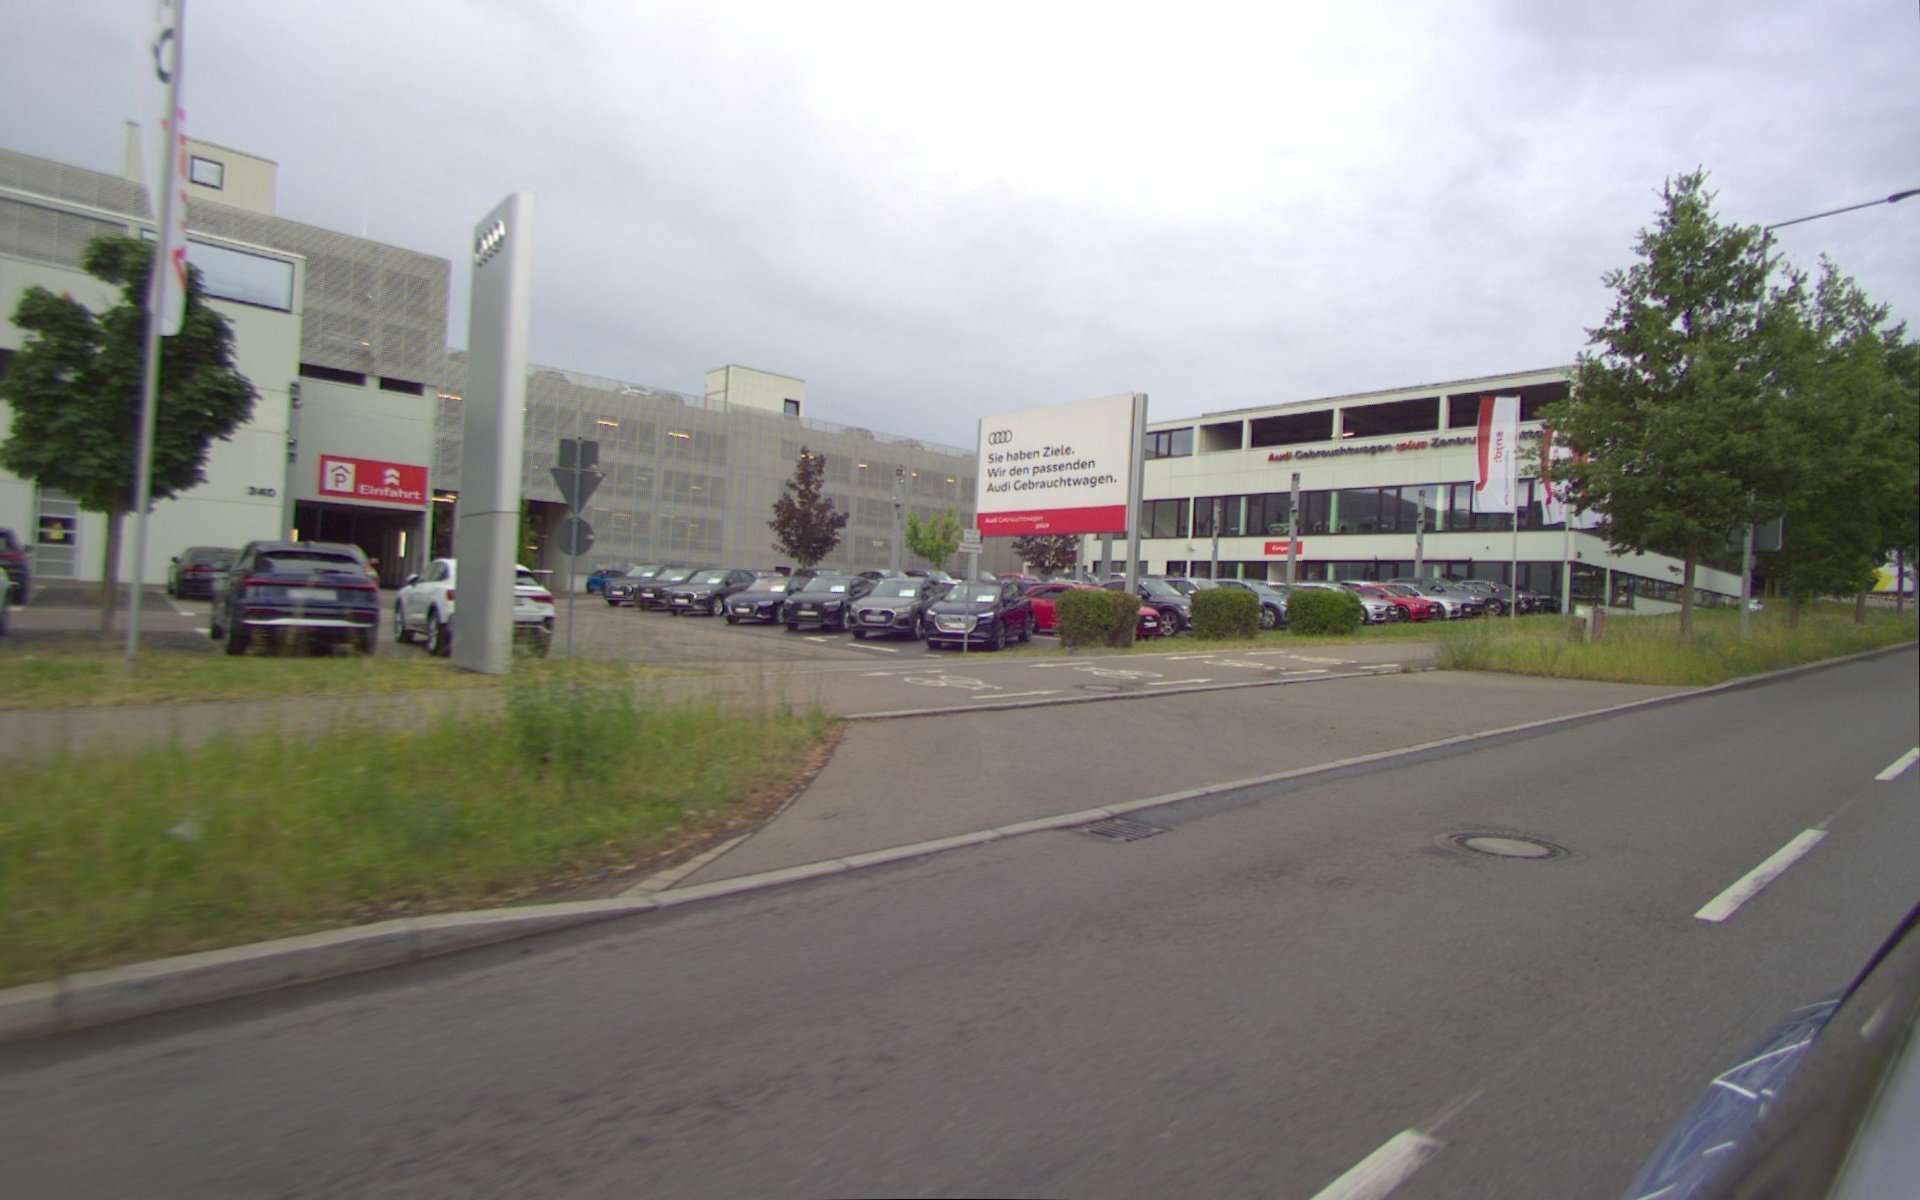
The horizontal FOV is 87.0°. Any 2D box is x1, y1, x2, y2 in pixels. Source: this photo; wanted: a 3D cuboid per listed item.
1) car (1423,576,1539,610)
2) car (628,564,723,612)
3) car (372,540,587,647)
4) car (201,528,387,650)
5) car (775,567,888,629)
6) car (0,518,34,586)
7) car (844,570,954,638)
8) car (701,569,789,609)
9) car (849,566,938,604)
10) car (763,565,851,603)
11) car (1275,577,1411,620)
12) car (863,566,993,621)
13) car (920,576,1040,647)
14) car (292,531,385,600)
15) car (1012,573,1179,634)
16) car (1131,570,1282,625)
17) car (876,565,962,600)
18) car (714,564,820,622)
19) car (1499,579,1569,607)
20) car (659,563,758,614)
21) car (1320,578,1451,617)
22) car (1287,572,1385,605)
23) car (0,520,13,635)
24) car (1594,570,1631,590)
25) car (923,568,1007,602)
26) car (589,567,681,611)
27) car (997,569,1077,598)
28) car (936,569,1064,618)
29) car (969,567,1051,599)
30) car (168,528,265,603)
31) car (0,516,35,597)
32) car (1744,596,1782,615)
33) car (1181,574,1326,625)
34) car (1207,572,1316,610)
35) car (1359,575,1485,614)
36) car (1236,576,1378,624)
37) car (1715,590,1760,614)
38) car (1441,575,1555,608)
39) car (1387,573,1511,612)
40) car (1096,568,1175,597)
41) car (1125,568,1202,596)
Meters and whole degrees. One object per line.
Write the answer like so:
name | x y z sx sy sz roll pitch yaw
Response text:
car | 23.602 -0.342 45.936 1.806 1.395 4.325 -1 3 -42
car | -10.582 -0.482 37.878 1.749 1.613 3.543 3 2 17
car | -8.328 -0.137 17.404 4.102 1.614 1.919 0 1 42
car | -10.286 -0.139 15.495 1.838 1.614 4.112 1 -1 -41
car | -3.668 -0.113 29.580 1.749 1.613 3.972 3 2 17
car | -24.118 -1.164 24.989 1.662 1.594 4.114 0 1 -40
car | -1.561 0.049 27.126 1.749 1.613 3.543 3 2 17
car | -9.291 -0.514 43.498 1.796 1.613 4.282 -1 2 -42
car | -3.059 -0.712 45.966 1.796 1.613 4.282 -1 2 -42
car | -6.798 -0.734 44.673 1.796 1.613 4.282 -1 2 -42
car | 14.412 -0.101 38.274 1.897 1.474 4.469 -1 2 -41
car | -1.142 -0.276 34.402 1.900 1.569 4.466 -1 4 -45
car | 0.609 0.203 25.233 1.814 1.613 4.336 1 1 18
car | -18.486 -0.964 29.998 1.963 1.878 4.540 1 0 -36
car | 3.755 0.023 28.593 1.900 1.570 4.464 -1 2 -45
car | 7.893 -0.140 32.746 1.897 1.570 4.470 -1 3 -41
car | -2.015 -0.855 48.727 1.796 1.613 4.282 -1 2 -42
car | -5.959 -0.259 31.609 1.749 1.613 3.543 3 2 17
car | 28.922 -0.370 50.960 3.855 1.355 1.901 -1 2 -42
car | -8.688 -0.420 35.226 1.749 1.613 3.543 3 2 17
car | 16.891 -0.147 40.351 1.897 1.364 4.406 -1 3 -41
car | 18.797 -0.609 50.767 1.796 1.570 4.282 -1 2 -42
car | -13.568 -0.298 12.913 1.661 1.614 4.118 -1 1 -36
car | 56.033 -1.730 86.866 3.579 1.697 1.700 -1 0 -41
car | 0.217 -0.780 50.689 1.796 1.613 4.282 -1 2 -42
car | -12.948 -0.465 40.530 1.749 1.613 3.543 3 2 17
car | 4.112 -0.913 54.808 1.796 1.486 4.282 -1 2 -42
car | 1.353 -0.279 35.873 1.900 1.570 4.465 -1 3 -45
car | 2.551 -0.909 52.900 1.796 1.613 4.282 -1 2 -42
car | -20.766 -0.911 28.212 1.964 1.900 3.996 1 0 -39
car | -20.709 -0.885 21.332 1.663 1.594 4.112 -1 1 -41
car | 66.037 0.469 83.236 4.384 1.503 1.700 -1 0 -41
car | 9.963 -0.074 34.599 1.897 1.547 4.470 -1 2 -41
car | 13.225 -0.424 44.566 1.796 1.570 4.282 -1 2 -42
car | 19.057 -0.251 41.897 1.857 1.445 4.407 -1 3 -40
car | 12.362 -0.052 36.256 1.897 1.473 4.470 -1 3 -41
car | 60.502 0.114 78.692 4.510 1.696 1.906 -1 3 -41
car | 25.609 -0.449 48.284 1.897 1.500 4.405 -1 2 -41
car | 21.136 -0.351 43.898 2.004 1.519 4.407 -1 3 -40
car | 9.924 -1.019 57.458 1.796 1.613 4.282 -1 2 -42
car | 11.976 -1.080 59.775 1.796 1.613 4.282 -1 2 -42
